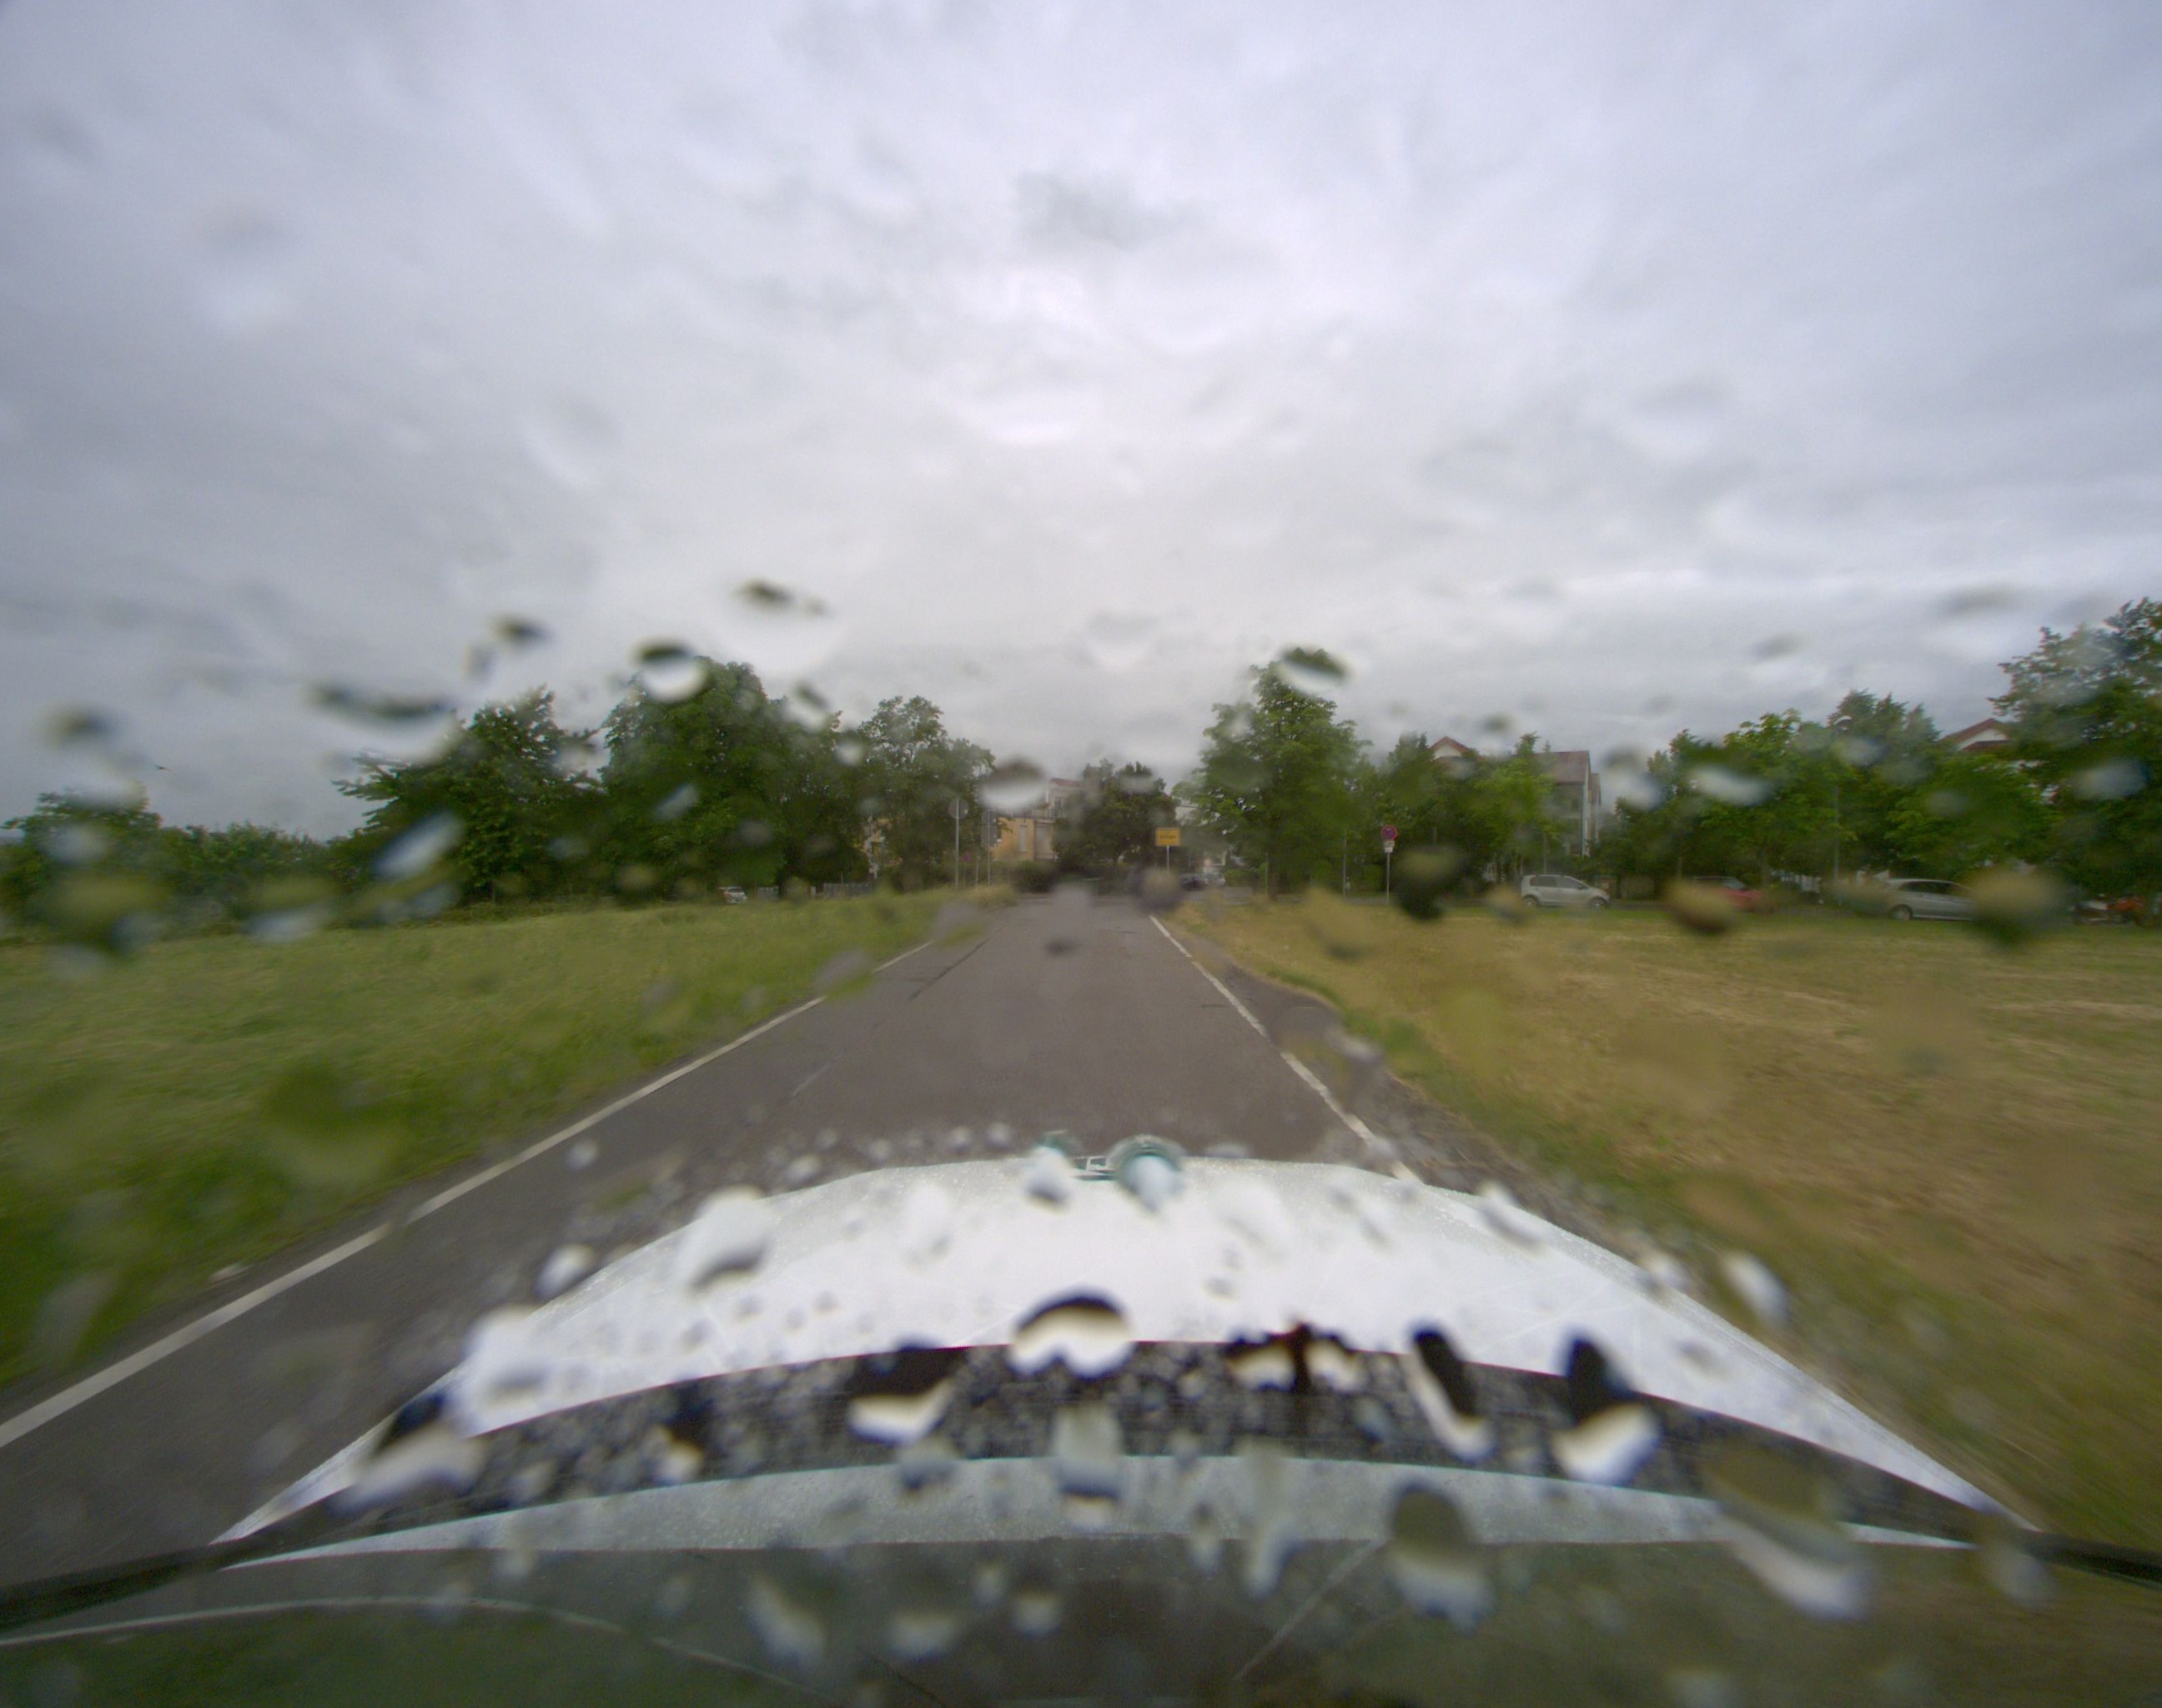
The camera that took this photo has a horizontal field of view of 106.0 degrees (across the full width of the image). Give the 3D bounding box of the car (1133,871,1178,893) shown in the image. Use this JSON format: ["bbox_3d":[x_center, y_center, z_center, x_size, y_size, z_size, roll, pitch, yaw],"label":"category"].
[{"bbox_3d":[5.668,2.116,61.684,1.758,1.518,4.162,2,-1,29],"label":"car"}]

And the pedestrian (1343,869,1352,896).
[{"bbox_3d":[20.003,2.147,61.125,0.552,2.014,0.528,-1,-2,29],"label":"pedestrian"}]

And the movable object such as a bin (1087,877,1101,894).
[{"bbox_3d":[0.821,2.029,52.246,0.688,1.055,0.608,-1,-1,21],"label":"movable object such as a bin"}]

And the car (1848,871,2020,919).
[{"bbox_3d":[30.705,1.454,29.446,3.949,1.552,1.858,1,-1,13],"label":"car"}]

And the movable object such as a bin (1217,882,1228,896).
[{"bbox_3d":[9.458,2.332,54.453,0.565,0.931,0.533,0,-2,35],"label":"movable object such as a bin"}]

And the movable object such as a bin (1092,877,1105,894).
[{"bbox_3d":[1.144,2.033,52.910,0.688,1.055,0.608,-1,-1,21],"label":"movable object such as a bin"}]

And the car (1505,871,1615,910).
[{"bbox_3d":[19.134,1.454,32.662,3.514,1.479,1.687,-1,-2,19],"label":"car"}]

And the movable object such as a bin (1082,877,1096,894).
[{"bbox_3d":[0.513,2.023,51.672,0.688,1.067,0.582,-1,-1,21],"label":"movable object such as a bin"}]

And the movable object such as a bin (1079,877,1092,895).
[{"bbox_3d":[0.284,2.007,51.111,0.688,1.075,0.546,-1,-1,21],"label":"movable object such as a bin"}]

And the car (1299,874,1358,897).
[{"bbox_3d":[19.107,2.430,63.039,3.948,1.664,1.790,-2,-2,37],"label":"car"}]

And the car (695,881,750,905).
[{"bbox_3d":[-25.021,2.717,56.849,3.678,1.503,1.621,-3,-4,30],"label":"car"}]

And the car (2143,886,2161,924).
[{"bbox_3d":[38.665,1.763,27.368,3.295,1.281,1.739,0,-1,12],"label":"car"}]

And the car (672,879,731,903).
[{"bbox_3d":[-25.046,2.408,53.718,3.649,1.552,1.702,-1,-3,31],"label":"car"}]

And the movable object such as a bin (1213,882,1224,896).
[{"bbox_3d":[9.125,2.314,53.990,0.565,0.931,0.533,0,-2,35],"label":"movable object such as a bin"}]

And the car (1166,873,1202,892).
[{"bbox_3d":[8.472,2.339,66.820,1.619,1.409,3.627,2,-1,31],"label":"car"}]

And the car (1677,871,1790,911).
[{"bbox_3d":[24.775,1.401,31.025,2.978,1.436,1.561,0,-2,18],"label":"car"}]

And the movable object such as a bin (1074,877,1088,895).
[{"bbox_3d":[0.018,1.996,50.554,0.688,1.075,0.605,-1,-1,21],"label":"movable object such as a bin"}]

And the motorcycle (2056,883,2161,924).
[{"bbox_3d":[35.161,1.678,27.828,2.242,1.302,0.974,1,-1,13],"label":"motorcycle"}]

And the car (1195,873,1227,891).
[{"bbox_3d":[11.397,2.459,71.145,1.496,1.477,3.294,2,-1,32],"label":"car"}]

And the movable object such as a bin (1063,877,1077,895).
[{"bbox_3d":[-0.692,2.003,50.774,0.659,1.073,0.546,-1,-1,22],"label":"movable object such as a bin"}]
